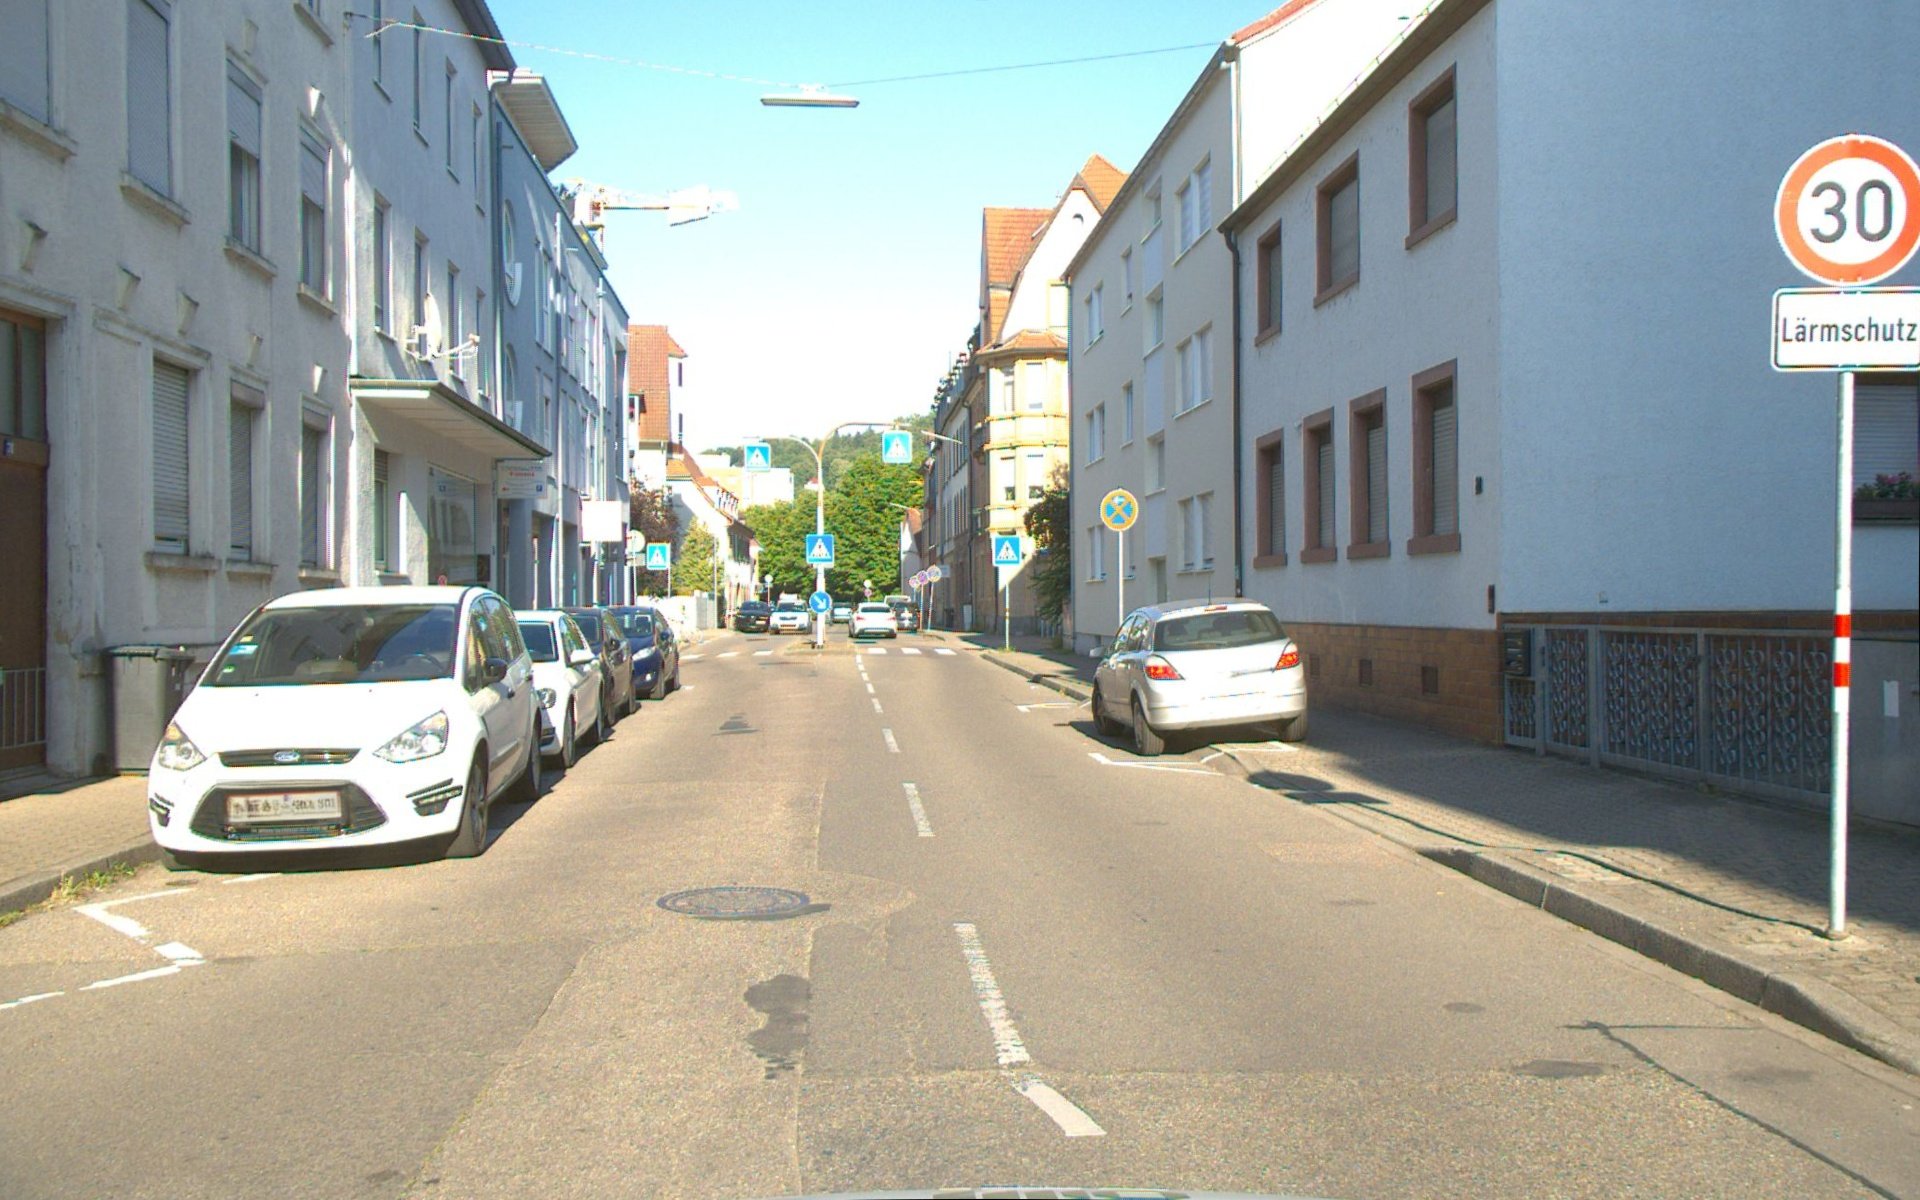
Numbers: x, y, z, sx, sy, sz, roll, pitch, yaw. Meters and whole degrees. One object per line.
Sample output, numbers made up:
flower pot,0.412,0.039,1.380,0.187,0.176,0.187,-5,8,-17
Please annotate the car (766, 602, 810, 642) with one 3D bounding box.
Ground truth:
car,-8.087,1.011,77.614,1.774,1.731,4.184,-3,0,-8

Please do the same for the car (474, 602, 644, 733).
car,-5.193,0.814,21.829,1.628,1.553,3.805,0,0,-5

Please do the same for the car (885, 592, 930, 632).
car,-2.649,0.568,82.328,1.972,1.885,3.995,0,0,-6

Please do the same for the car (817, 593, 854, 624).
car,-8.740,0.604,115.627,1.960,2.049,3.985,-1,0,-14

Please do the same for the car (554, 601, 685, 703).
car,-5.587,0.829,27.516,1.697,1.525,3.954,-1,-1,-6

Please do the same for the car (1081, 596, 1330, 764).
car,2.495,0.756,17.904,1.707,1.518,4.435,-2,0,-4

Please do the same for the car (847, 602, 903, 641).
car,-3.476,0.841,66.869,1.956,1.492,3.994,-1,0,-7

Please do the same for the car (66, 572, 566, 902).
car,-3.936,0.689,11.165,1.956,1.676,5.213,0,0,-8

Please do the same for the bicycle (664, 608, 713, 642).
bicycle,-10.098,0.939,61.558,1.751,1.205,0.598,-1,0,-4

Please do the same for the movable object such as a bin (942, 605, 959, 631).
movable object such as a bin,-0.533,0.996,93.360,0.855,1.401,0.684,-3,1,-8

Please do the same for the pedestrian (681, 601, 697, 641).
pedestrian,-10.131,0.789,61.894,0.546,1.498,0.600,-1,0,-8

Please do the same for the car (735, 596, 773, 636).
car,-10.811,0.834,87.058,1.955,2.049,3.994,0,0,-7

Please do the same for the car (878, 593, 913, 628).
car,-3.857,0.612,98.631,1.805,1.939,3.995,-2,1,-6

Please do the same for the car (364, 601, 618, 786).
car,-4.572,0.826,16.710,1.731,1.521,4.120,-3,0,-6
